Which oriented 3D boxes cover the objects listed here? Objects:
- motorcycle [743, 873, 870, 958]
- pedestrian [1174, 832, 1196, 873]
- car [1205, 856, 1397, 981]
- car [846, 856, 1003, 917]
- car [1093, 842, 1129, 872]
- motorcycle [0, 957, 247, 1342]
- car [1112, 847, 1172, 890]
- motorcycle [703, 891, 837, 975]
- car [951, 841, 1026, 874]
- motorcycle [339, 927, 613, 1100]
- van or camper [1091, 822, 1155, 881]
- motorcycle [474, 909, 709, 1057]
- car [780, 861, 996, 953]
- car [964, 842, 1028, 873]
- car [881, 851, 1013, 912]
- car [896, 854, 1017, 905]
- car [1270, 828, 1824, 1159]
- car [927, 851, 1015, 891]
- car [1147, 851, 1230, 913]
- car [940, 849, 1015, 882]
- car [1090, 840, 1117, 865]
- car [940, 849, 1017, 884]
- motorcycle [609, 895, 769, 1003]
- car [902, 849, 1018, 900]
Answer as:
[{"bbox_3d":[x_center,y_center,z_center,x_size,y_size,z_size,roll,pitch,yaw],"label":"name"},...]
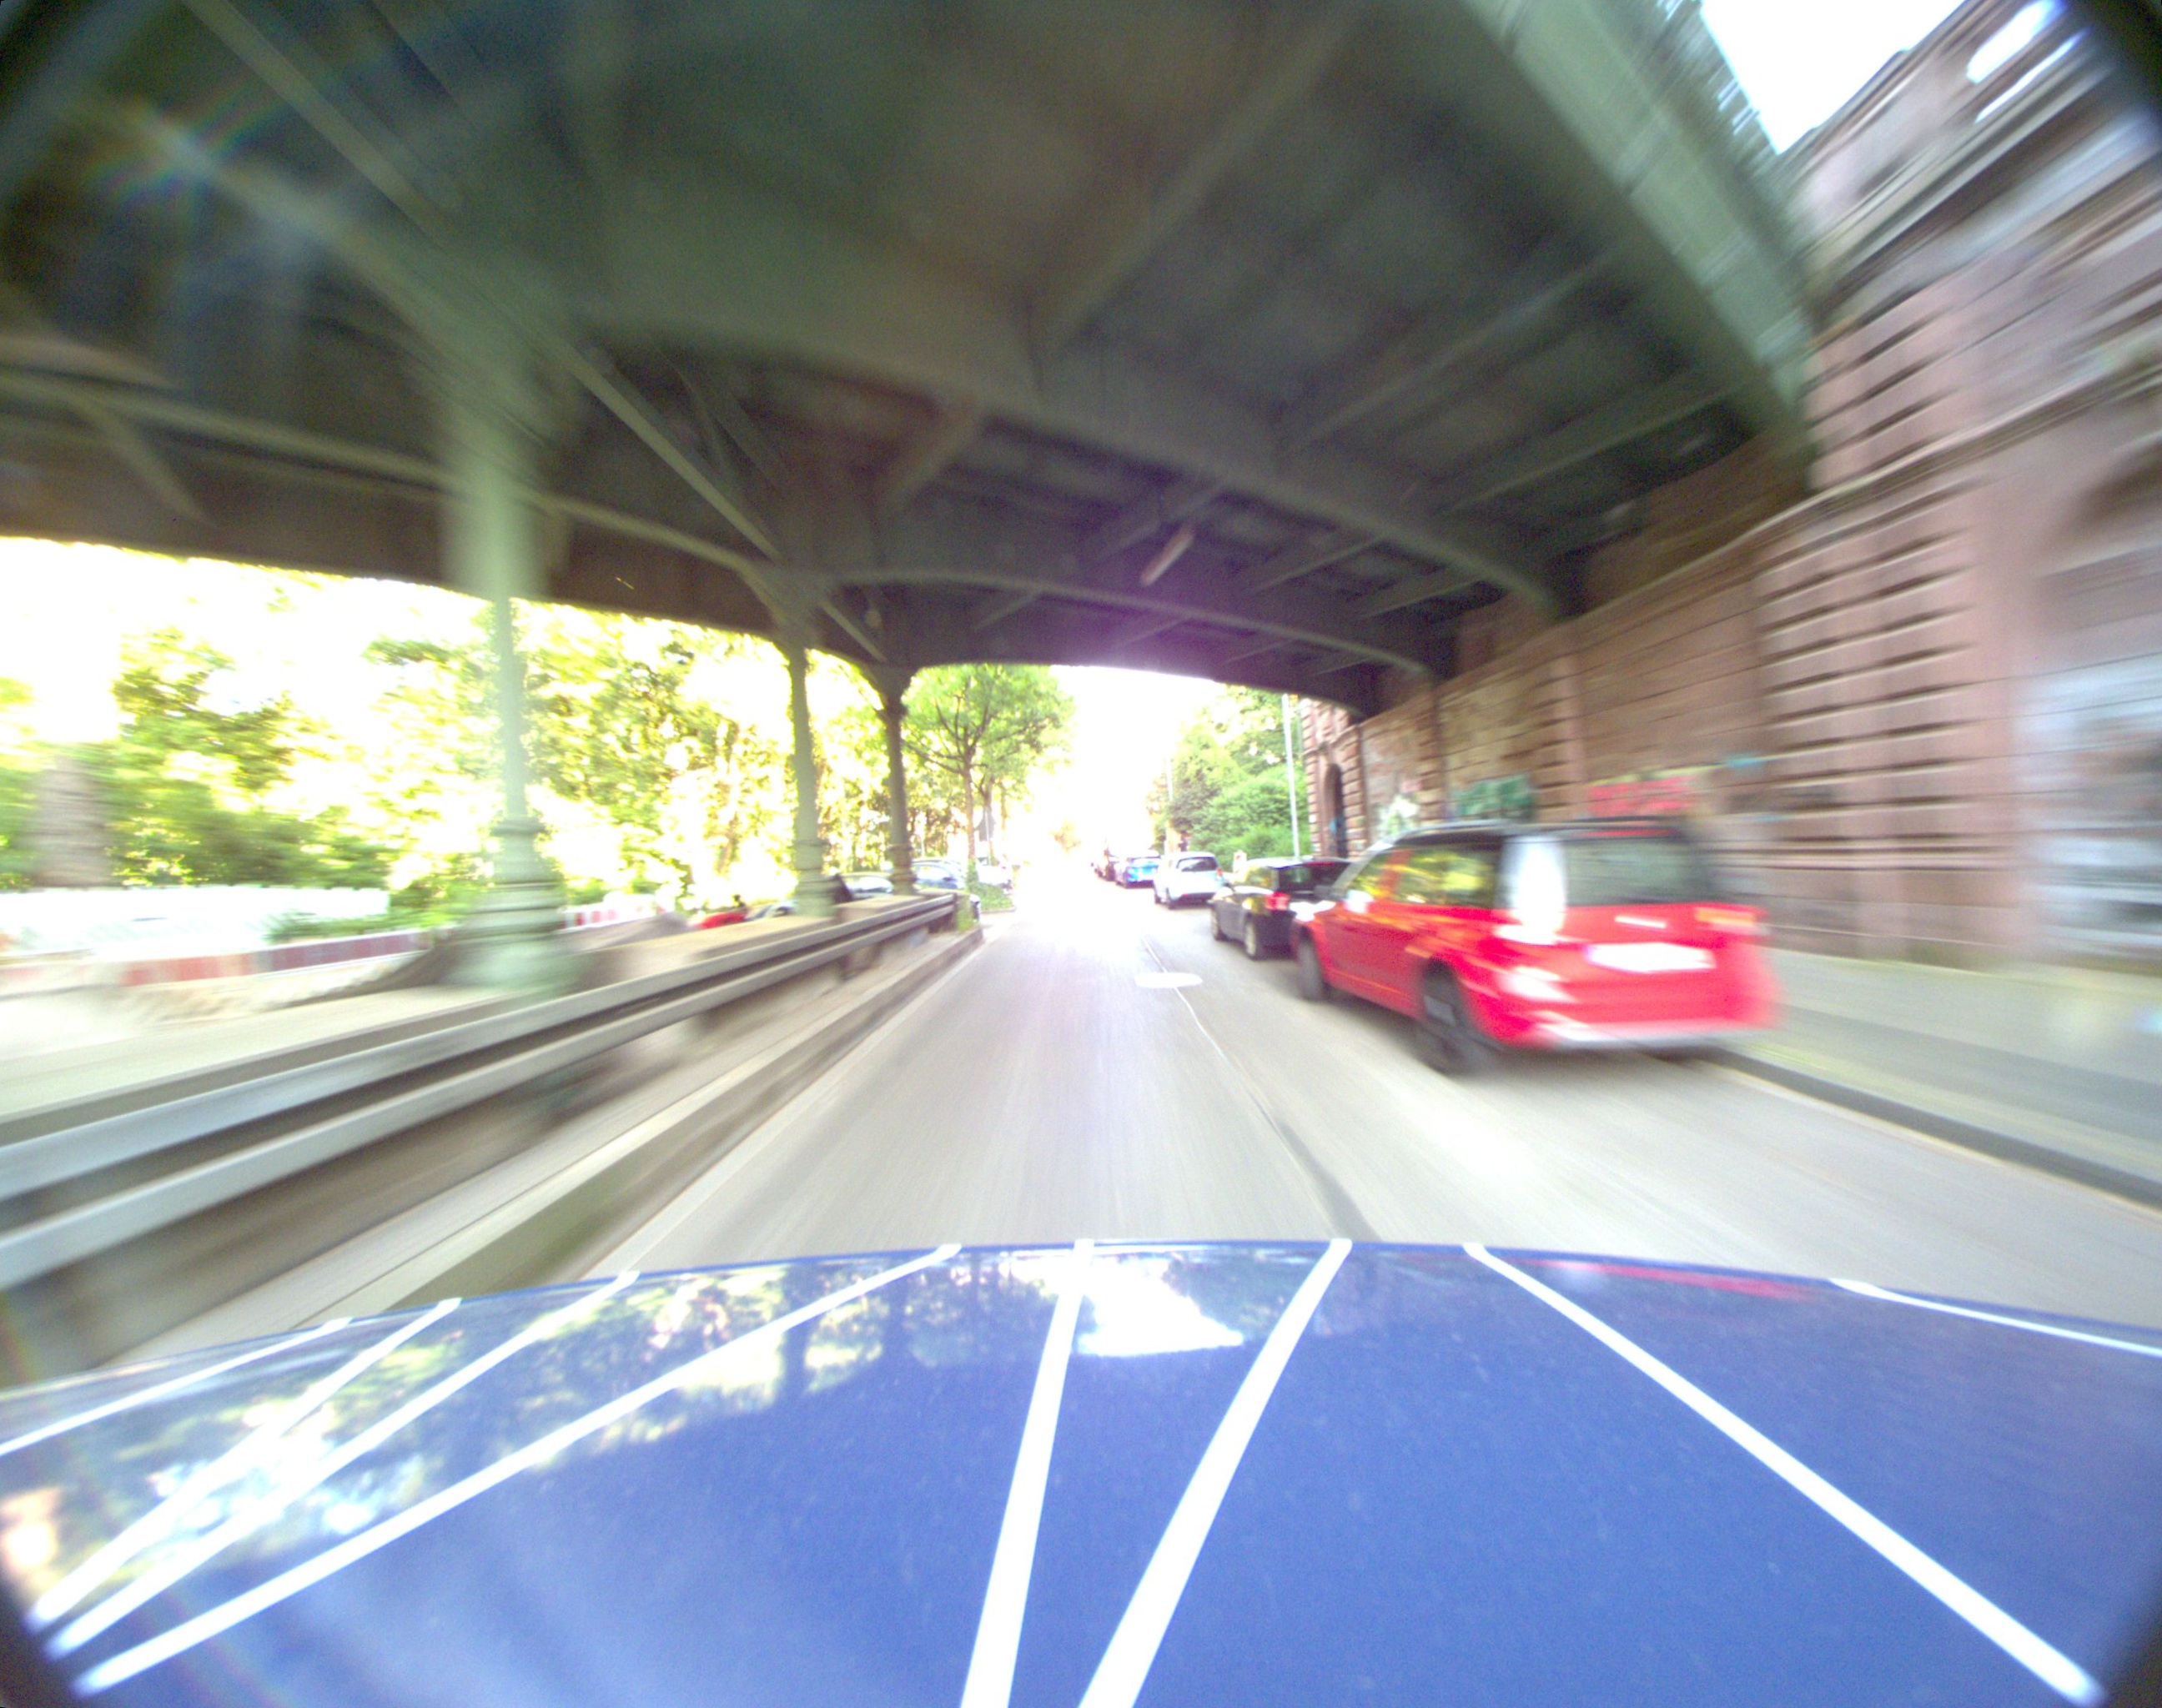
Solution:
[{"bbox_3d":[-4.908,1.054,13.593,1.938,1.231,0.903,-6,2,-26],"label":"motorcycle"},{"bbox_3d":[5.034,-0.103,36.734,0.639,1.904,1.046,-5,2,-7],"label":"pedestrian"},{"bbox_3d":[3.112,0.816,11.597,1.721,1.455,3.999,-3,1,0],"label":"car"},{"bbox_3d":[-4.982,1.021,24.619,4.597,1.597,1.734,-3,2,3],"label":"car"},{"bbox_3d":[1.698,0.135,44.333,1.704,1.499,4.226,-2,2,-3],"label":"car"},{"bbox_3d":[-4.946,1.260,3.563,1.602,1.400,0.713,-4,2,19],"label":"motorcycle"},{"bbox_3d":[2.468,0.550,31.885,1.749,1.458,4.372,-5,2,-4],"label":"car"},{"bbox_3d":[-4.859,1.188,11.906,1.728,1.024,0.810,-6,2,-35],"label":"motorcycle"},{"bbox_3d":[-5.979,0.203,49.589,4.684,1.914,1.871,-2,2,-2],"label":"car"},{"bbox_3d":[-5.128,1.321,6.576,1.606,1.126,0.711,-5,2,-17],"label":"motorcycle"},{"bbox_3d":[1.966,-0.209,37.982,2.242,2.509,6.417,-5,2,-4],"label":"van or camper"},{"bbox_3d":[-4.940,1.266,7.858,1.839,1.126,0.849,-6,2,-24],"label":"motorcycle"},{"bbox_3d":[-4.267,1.147,17.300,4.386,1.569,1.673,-5,2,-2],"label":"car"},{"bbox_3d":[-5.814,0.246,52.184,3.996,1.748,1.798,-5,2,3],"label":"car"},{"bbox_3d":[-4.721,0.929,27.296,4.387,1.699,1.905,-5,2,-5],"label":"car"},{"bbox_3d":[-4.805,0.964,29.808,4.386,1.524,1.875,-5,2,-2],"label":"car"},{"bbox_3d":[3.067,0.729,6.251,1.721,1.698,4.321,-3,1,-2],"label":"car"},{"bbox_3d":[-5.347,0.810,37.308,4.031,1.565,1.586,-5,2,-2],"label":"car"},{"bbox_3d":[3.040,0.739,22.148,1.599,1.538,3.913,-3,1,-3],"label":"car"},{"bbox_3d":[-6.060,0.642,44.806,3.997,1.565,1.665,-5,2,2],"label":"car"},{"bbox_3d":[1.539,-0.148,52.208,1.703,1.489,4.548,-2,2,1],"label":"car"},{"bbox_3d":[-5.665,0.681,42.451,3.998,1.565,1.586,-5,2,-2],"label":"car"},{"bbox_3d":[-5.241,1.220,10.205,1.728,1.126,0.711,-6,3,-35],"label":"motorcycle"},{"bbox_3d":[-5.087,0.829,32.362,4.544,1.686,1.906,-5,2,-2],"label":"car"}]
